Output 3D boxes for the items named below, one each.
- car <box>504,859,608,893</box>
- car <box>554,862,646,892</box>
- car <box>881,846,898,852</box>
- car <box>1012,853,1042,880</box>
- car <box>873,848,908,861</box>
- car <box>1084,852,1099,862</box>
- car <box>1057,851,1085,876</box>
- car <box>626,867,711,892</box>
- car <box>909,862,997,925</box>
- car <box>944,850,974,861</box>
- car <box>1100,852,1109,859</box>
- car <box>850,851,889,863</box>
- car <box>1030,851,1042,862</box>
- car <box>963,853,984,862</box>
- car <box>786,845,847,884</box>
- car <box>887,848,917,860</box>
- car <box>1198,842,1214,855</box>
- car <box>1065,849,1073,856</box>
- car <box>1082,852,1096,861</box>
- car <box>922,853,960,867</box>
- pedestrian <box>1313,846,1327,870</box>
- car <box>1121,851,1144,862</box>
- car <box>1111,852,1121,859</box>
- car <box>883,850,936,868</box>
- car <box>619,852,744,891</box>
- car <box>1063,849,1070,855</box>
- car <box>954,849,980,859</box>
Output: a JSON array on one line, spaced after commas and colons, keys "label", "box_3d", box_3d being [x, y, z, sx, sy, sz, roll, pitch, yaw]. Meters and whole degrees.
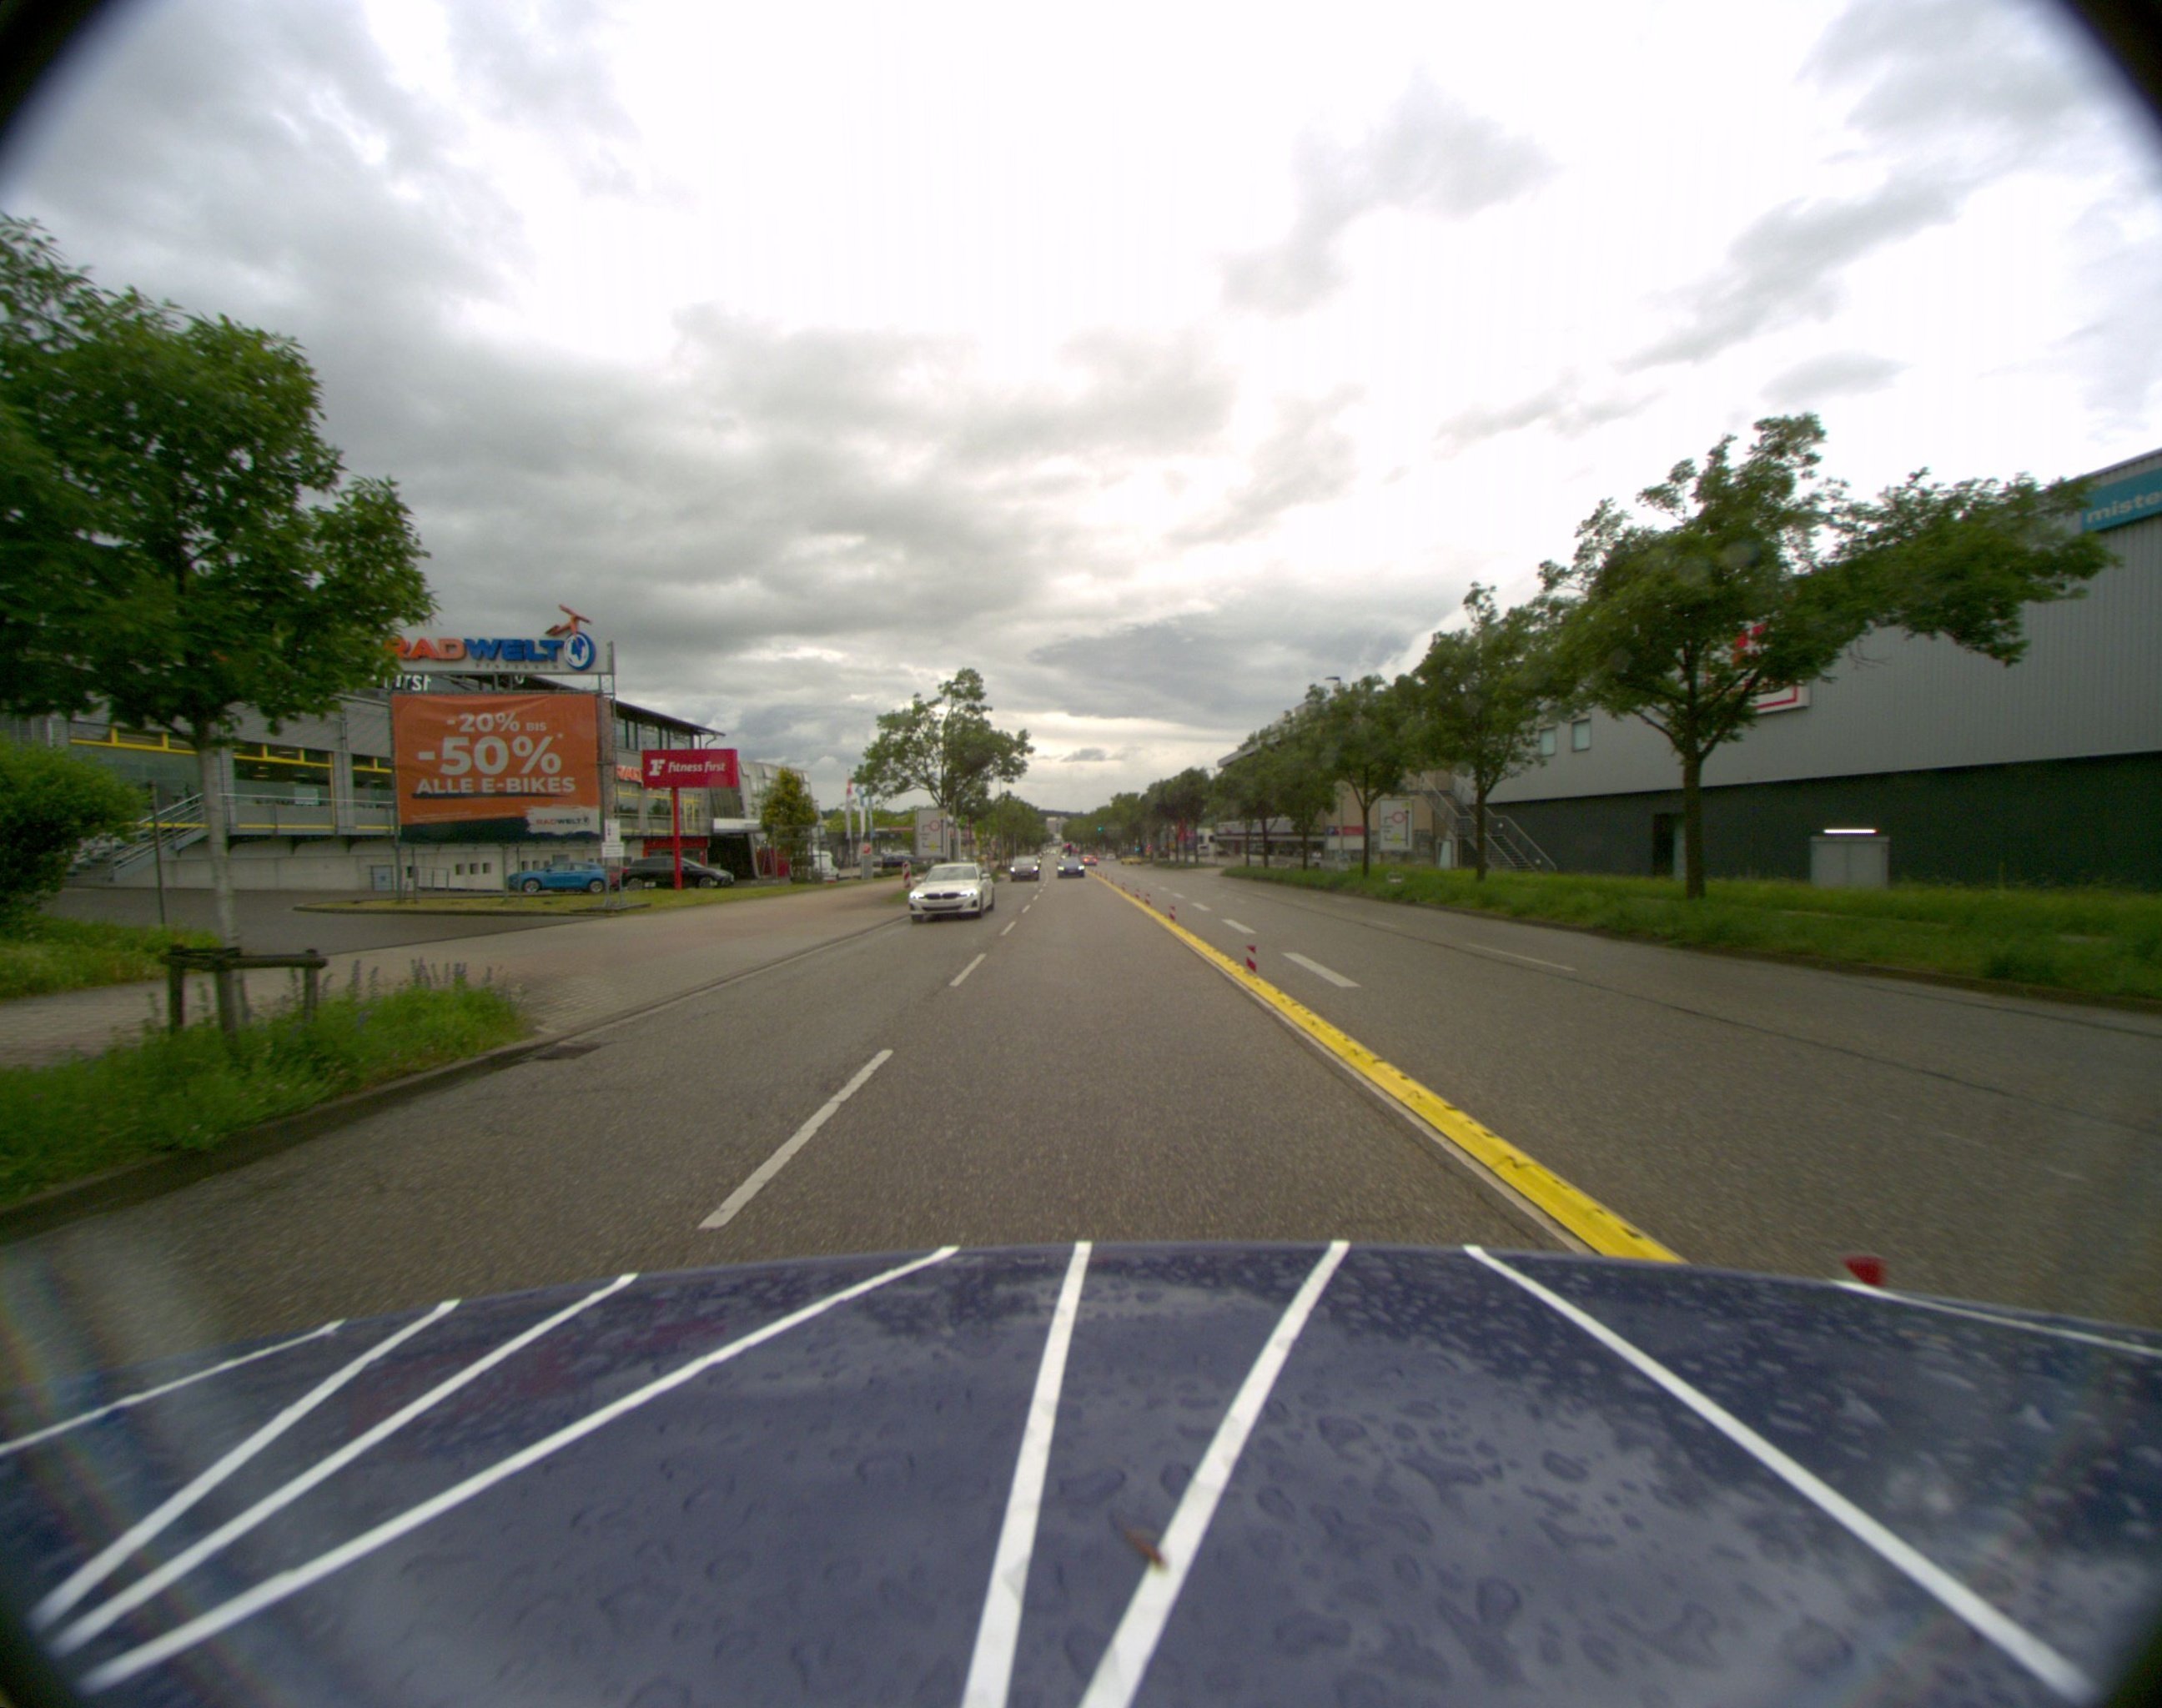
[{"label": "car", "box_3d": [-25.237, 1.051, 36.596, 3.919, 1.549, 1.735, 0, -2, -43]}, {"label": "car", "box_3d": [-25.514, 1.234, 40.375, 3.882, 1.492, 1.735, 0, -2, -42]}, {"label": "car", "box_3d": [-52.412, -1.419, 208.188, 4.222, 1.572, 1.823, 0, 0, -2]}, {"label": "car", "box_3d": [-3.521, 0.781, 49.865, 1.799, 1.572, 4.217, -3, 0, -3]}, {"label": "car", "box_3d": [-26.882, 0.107, 107.316, 4.508, 1.672, 1.794, 1, 2, -40]}, {"label": "car", "box_3d": [1.438, 0.426, 106.730, 1.789, 1.398, 4.615, 0, 0, -3]}, {"label": "car", "box_3d": [-0.735, 0.640, 53.620, 1.799, 1.572, 4.218, -3, 0, -1]}, {"label": "car", "box_3d": [-25.209, 1.541, 46.505, 1.735, 1.461, 4.269, -3, -2, 45]}, {"label": "car", "box_3d": [-3.437, 1.003, 21.184, 1.808, 1.432, 4.540, -3, 0, -3]}, {"label": "car", "box_3d": [-18.659, 0.224, 116.266, 4.186, 1.570, 1.738, 1, 1, -41]}, {"label": "car", "box_3d": [5.597, 0.283, 179.733, 1.745, 1.543, 4.781, 0, 0, -1]}, {"label": "car", "box_3d": [-26.831, 0.399, 96.460, 4.508, 1.388, 1.794, 1, 2, -44]}, {"label": "car", "box_3d": [-6.439, 0.348, 109.048, 1.754, 1.501, 3.999, 0, 0, -3]}, {"label": "car", "box_3d": [-19.224, 0.641, 135.473, 1.747, 1.570, 3.864, 0, -1, -42]}, {"label": "car", "box_3d": [-18.836, 0.710, 54.470, 2.233, 2.522, 5.679, -3, 1, 0]}, {"label": "car", "box_3d": [-27.457, 0.011, 116.930, 1.794, 1.736, 4.125, 4, 2, 44]}, {"label": "car", "box_3d": [21.708, -1.041, 132.497, 1.998, 2.002, 4.885, -6, 1, 3]}, {"label": "car", "box_3d": [-2.811, -0.397, 175.200, 1.754, 1.501, 3.999, 0, 0, -3]}, {"label": "car", "box_3d": [1.185, 0.370, 112.449, 1.745, 1.398, 3.998, 0, 0, -3]}, {"label": "car", "box_3d": [-16.911, 0.736, 91.985, 4.180, 1.464, 1.862, 2, 1, -3]}, {"label": "pedestrian", "box_3d": [15.930, 0.261, 50.697, 0.586, 1.574, 0.767, -3, 1, 0]}, {"label": "car", "box_3d": [7.842, 0.330, 115.769, 1.624, 1.500, 3.703, -6, 2, -28]}, {"label": "car", "box_3d": [7.039, 0.363, 154.784, 1.745, 1.398, 4.467, 0, 1, -1]}, {"label": "car", "box_3d": [-16.614, 0.509, 73.691, 4.664, 1.591, 1.927, 2, 1, 8]}, {"label": "car", "box_3d": [-15.975, 0.718, 30.602, 4.106, 1.430, 1.795, -1, -2, -14]}, {"label": "car", "box_3d": [-3.614, -0.519, 186.886, 1.754, 1.501, 3.999, 0, 0, -3]}, {"label": "car", "box_3d": [-19.221, 0.073, 128.303, 1.738, 1.570, 4.324, 2, 1, 42]}]
